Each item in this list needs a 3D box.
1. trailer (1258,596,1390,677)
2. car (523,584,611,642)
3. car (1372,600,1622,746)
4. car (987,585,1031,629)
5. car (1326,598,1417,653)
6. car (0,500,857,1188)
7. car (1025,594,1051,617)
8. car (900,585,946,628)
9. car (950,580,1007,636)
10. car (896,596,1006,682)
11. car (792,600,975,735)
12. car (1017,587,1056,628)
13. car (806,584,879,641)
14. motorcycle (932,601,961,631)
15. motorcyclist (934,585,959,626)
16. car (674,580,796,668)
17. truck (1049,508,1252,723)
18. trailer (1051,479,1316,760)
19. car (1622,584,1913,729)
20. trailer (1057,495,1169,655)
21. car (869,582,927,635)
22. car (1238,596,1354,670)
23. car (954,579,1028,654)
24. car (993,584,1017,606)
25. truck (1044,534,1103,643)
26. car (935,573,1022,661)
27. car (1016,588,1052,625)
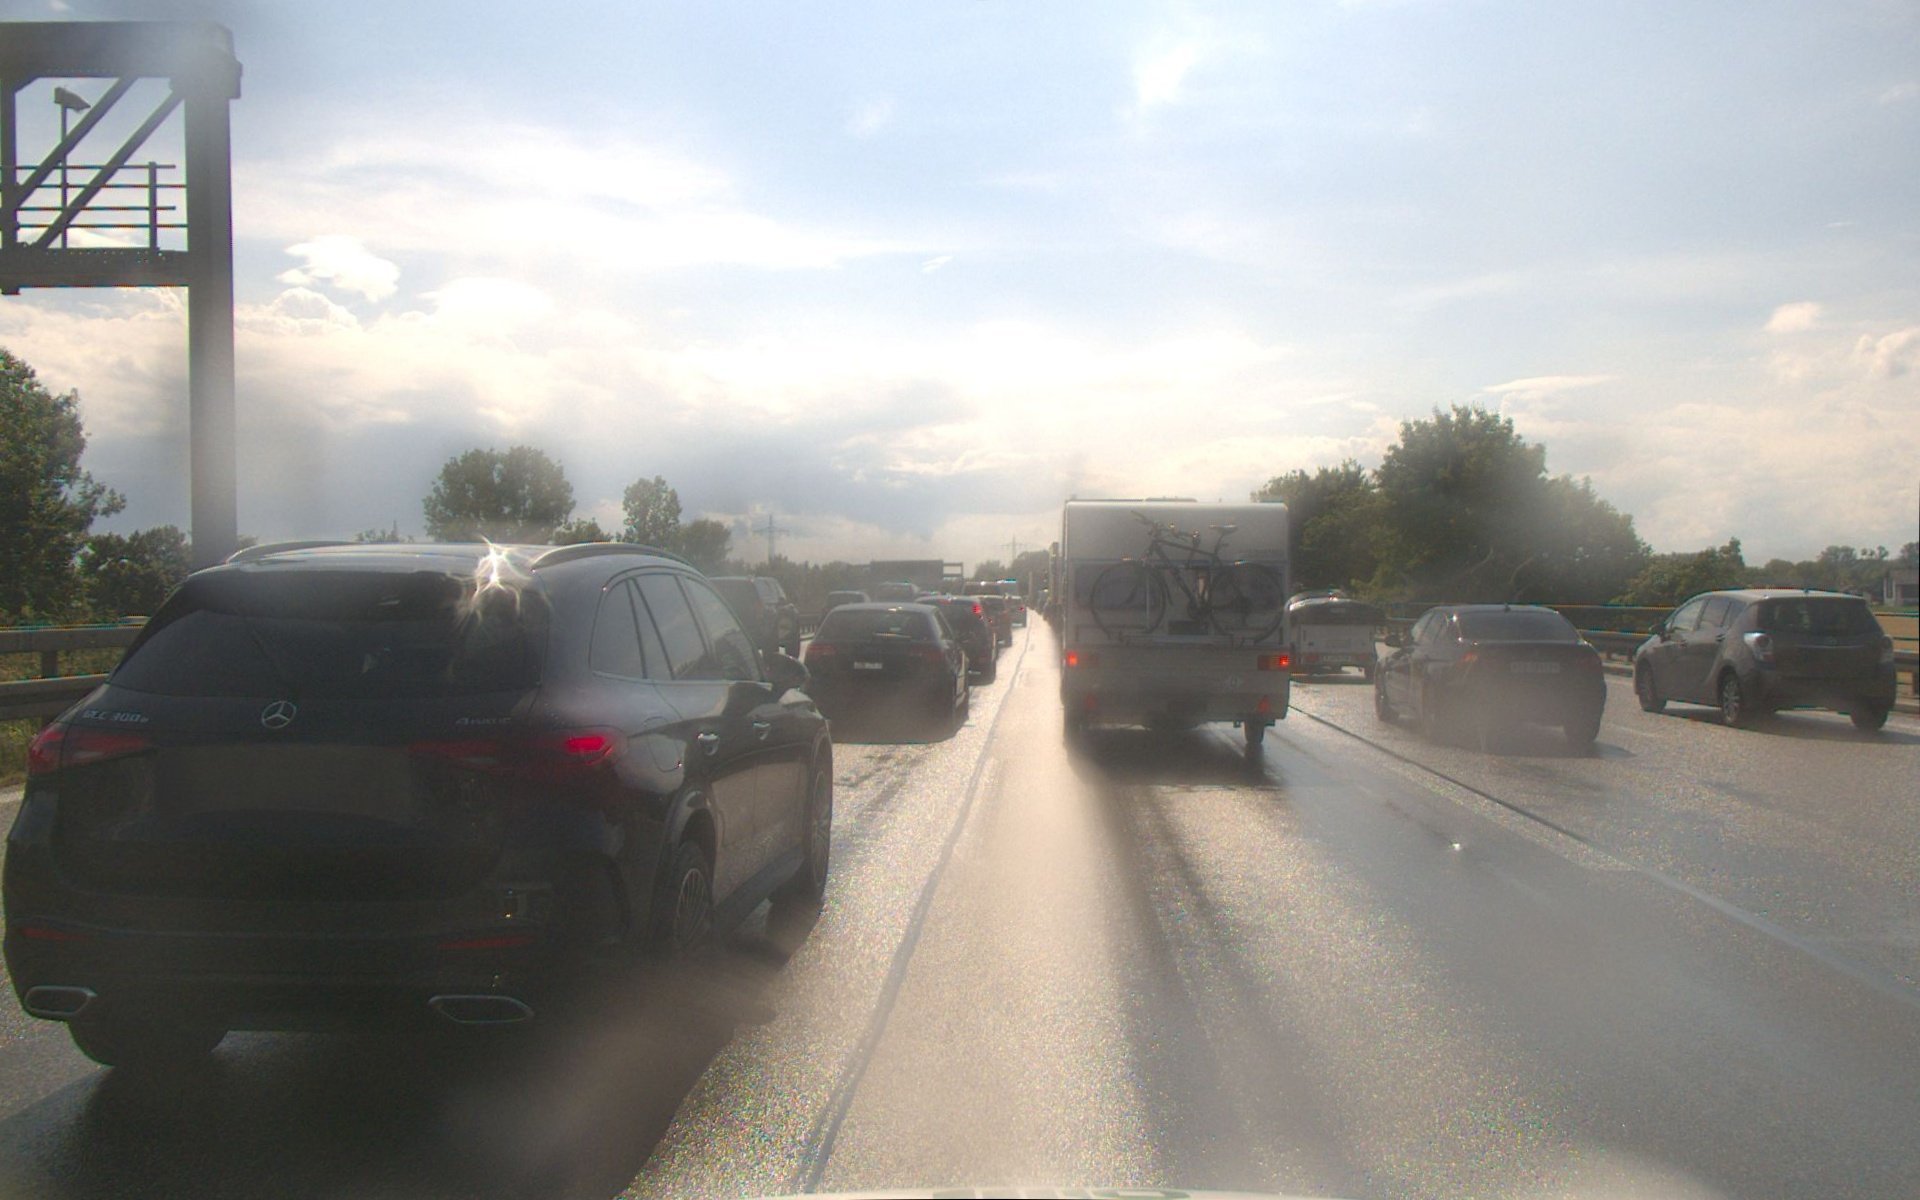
[{"bbox_3d":[6.958,0.653,31.999,1.816,1.467,4.149,0,0,3],"label":"trailer"},{"bbox_3d":[-14.397,0.463,60.858,1.952,2.049,4.654,0,0,2],"label":"car"},{"bbox_3d":[5.852,0.733,18.474,1.704,1.445,3.837,0,0,3],"label":"car"},{"bbox_3d":[2.397,0.318,80.101,1.952,2.049,4.002,1,0,3],"label":"car"},{"bbox_3d":[11.454,0.679,46.307,1.733,1.426,4.291,0,0,4],"label":"car"},{"bbox_3d":[-1.642,0.602,6.325,1.952,1.690,4.408,0,0,4],"label":"car"},{"bbox_3d":[6.289,0.462,133.595,1.837,1.791,4.000,1,0,0],"label":"car"},{"bbox_3d":[-1.860,0.313,83.732,1.952,2.049,4.002,1,0,3],"label":"car"},{"bbox_3d":[0.758,0.306,64.294,1.952,2.049,4.002,2,0,3],"label":"car"},{"bbox_3d":[-0.102,0.673,30.305,1.768,1.432,4.001,1,0,3],"label":"car"},{"bbox_3d":[-0.787,0.711,19.408,1.720,1.411,3.947,0,0,4],"label":"car"},{"bbox_3d":[4.042,0.367,87.090,1.952,2.049,4.002,2,0,3],"label":"car"},{"bbox_3d":[-3.961,0.411,56.280,1.952,1.803,4.002,1,0,3],"label":"car"},{"bbox_3d":[-0.581,0.694,71.938,1.051,1.293,2.691,0,0,3],"label":"motorcycle"},{"bbox_3d":[-0.575,0.245,72.042,1.041,1.748,0.785,0,0,3],"label":"motorcyclist"},{"bbox_3d":[-4.758,0.488,35.524,1.952,1.750,4.001,1,0,1],"label":"car"},{"bbox_3d":[2.412,0.185,22.469,2.324,2.520,5.758,1,0,3],"label":"truck"},{"bbox_3d":[2.212,0.178,18.338,2.324,2.526,6.525,1,0,3],"label":"trailer"},{"bbox_3d":[10.019,0.630,20.923,1.751,1.641,4.387,0,0,3],"label":"car"},{"bbox_3d":[4.438,-0.659,48.304,2.943,4.239,8.541,1,0,5],"label":"trailer"},{"bbox_3d":[-2.582,0.345,70.083,1.952,2.048,4.002,4,0,3],"label":"car"},{"bbox_3d":[7.112,0.658,35.393,1.816,1.467,4.259,0,0,3],"label":"car"},{"bbox_3d":[0.995,0.482,50.405,1.952,2.048,4.002,4,0,3],"label":"car"},{"bbox_3d":[3.721,-0.410,137.692,1.837,1.791,4.000,1,0,0],"label":"car"},{"bbox_3d":[5.301,-0.510,78.305,2.450,4.914,7.544,1,0,2],"label":"truck"},{"bbox_3d":[0.521,0.399,41.206,1.952,2.049,4.002,1,0,3],"label":"car"},{"bbox_3d":[4.451,0.379,99.216,1.952,2.048,4.002,4,0,3],"label":"car"}]
